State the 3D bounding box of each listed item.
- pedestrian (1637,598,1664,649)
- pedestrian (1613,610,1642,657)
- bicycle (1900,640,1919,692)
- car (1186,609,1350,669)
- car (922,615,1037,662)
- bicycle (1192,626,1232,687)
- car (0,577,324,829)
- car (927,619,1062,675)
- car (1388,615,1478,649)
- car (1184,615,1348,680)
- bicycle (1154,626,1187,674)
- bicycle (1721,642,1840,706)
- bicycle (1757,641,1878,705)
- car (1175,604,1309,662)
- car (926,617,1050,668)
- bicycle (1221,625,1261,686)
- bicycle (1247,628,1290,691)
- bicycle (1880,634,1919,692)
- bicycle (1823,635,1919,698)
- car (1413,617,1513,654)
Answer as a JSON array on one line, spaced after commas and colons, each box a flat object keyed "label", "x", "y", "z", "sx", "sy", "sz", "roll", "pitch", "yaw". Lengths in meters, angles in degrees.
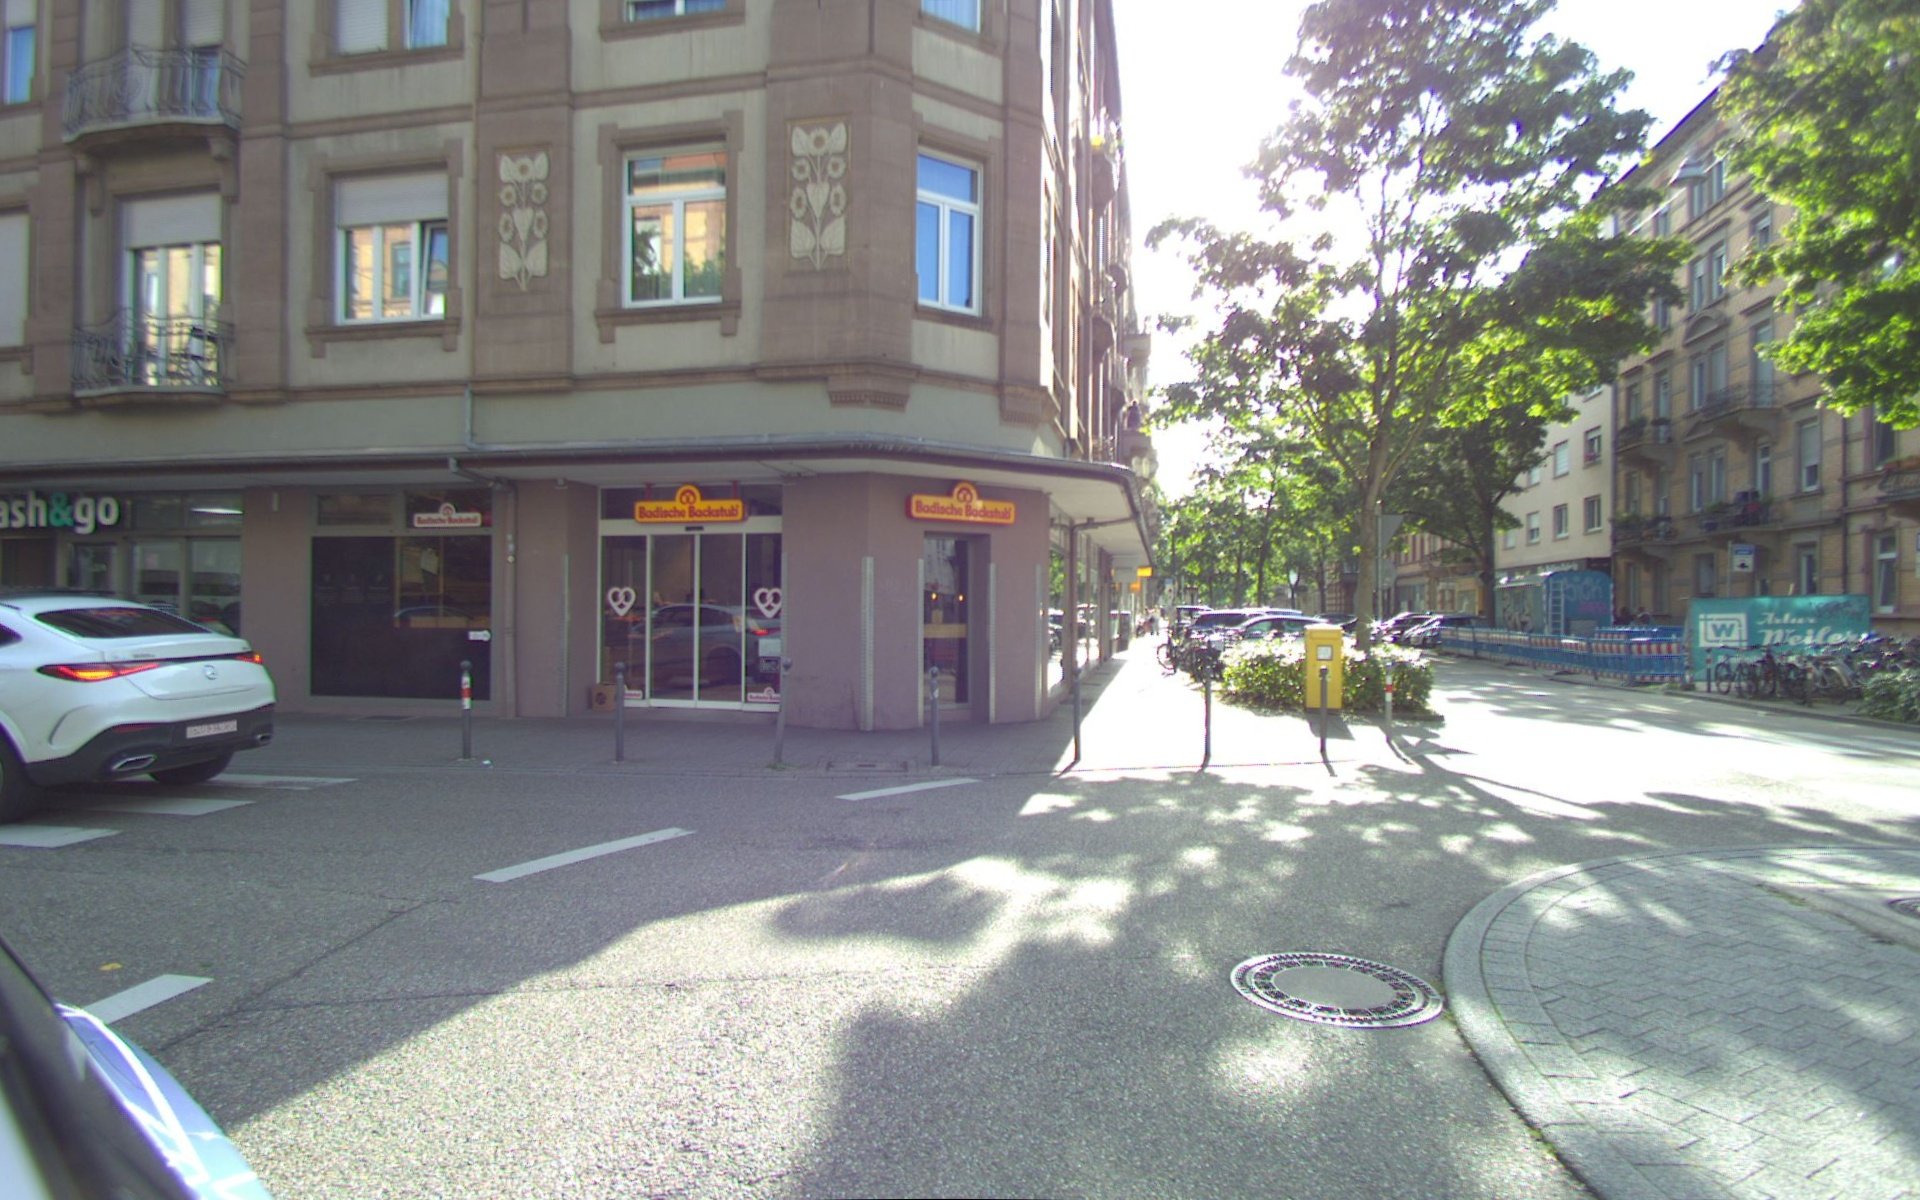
[{"label": "pedestrian", "x": 24.834, "y": 0.836, "z": 36.417, "sx": 0.618, "sy": 1.832, "sz": 0.519, "roll": 0, "pitch": -1, "yaw": 11}, {"label": "pedestrian", "x": 24.112, "y": 1.193, "z": 36.556, "sx": 0.694, "sy": 1.685, "sz": 0.519, "roll": 0, "pitch": -1, "yaw": 11}, {"label": "bicycle", "x": 18.587, "y": 1.256, "z": 18.711, "sx": 0.584, "sy": 0.976, "sz": 2.073, "roll": -2, "pitch": -1, "yaw": 6}, {"label": "car", "x": 8.095, "y": 1.006, "z": 26.889, "sx": 4.033, "sy": 1.487, "sz": 1.571, "roll": 0, "pitch": 0, "yaw": 13}, {"label": "car", "x": 0.693, "y": 1.358, "z": 35.863, "sx": 3.946, "sy": 1.563, "sz": 1.765, "roll": 0, "pitch": 0, "yaw": 2}, {"label": "bicycle", "x": 5.085, "y": 1.102, "z": 20.518, "sx": 0.573, "sy": 1.143, "sz": 2.425, "roll": 0, "pitch": -1, "yaw": 9}, {"label": "car", "x": -7.897, "y": 0.710, "z": 7.891, "sx": 4.784, "sy": 1.647, "sz": 1.996, "roll": -1, "pitch": -1, "yaw": 6}, {"label": "car", "x": 1.034, "y": 1.405, "z": 30.578, "sx": 3.946, "sy": 1.563, "sz": 1.765, "roll": 0, "pitch": 0, "yaw": 2}, {"label": "car", "x": 23.462, "y": 1.572, "z": 50.375, "sx": 3.974, "sy": 1.614, "sz": 1.865, "roll": 0, "pitch": 0, "yaw": 23}, {"label": "car", "x": 7.379, "y": 1.128, "z": 24.699, "sx": 3.659, "sy": 1.487, "sz": 1.572, "roll": 0, "pitch": 0, "yaw": 11}, {"label": "bicycle", "x": 4.996, "y": 1.166, "z": 24.078, "sx": 0.598, "sy": 1.036, "sz": 1.777, "roll": 0, "pitch": 0, "yaw": 7}, {"label": "bicycle", "x": 15.087, "y": 1.338, "z": 18.683, "sx": 0.584, "sy": 1.037, "sz": 2.138, "roll": -2, "pitch": -1, "yaw": 6}, {"label": "bicycle", "x": 15.743, "y": 1.319, "z": 18.655, "sx": 0.584, "sy": 1.037, "sz": 2.073, "roll": -2, "pitch": -1, "yaw": 6}, {"label": "car", "x": 8.162, "y": 0.947, "z": 29.577, "sx": 3.661, "sy": 1.608, "sz": 1.571, "roll": 0, "pitch": 0, "yaw": 13}, {"label": "car", "x": 0.914, "y": 1.381, "z": 33.334, "sx": 3.946, "sy": 1.563, "sz": 1.765, "roll": 0, "pitch": 0, "yaw": 2}, {"label": "bicycle", "x": 5.646, "y": 1.088, "z": 20.427, "sx": 0.473, "sy": 1.143, "sz": 2.425, "roll": 0, "pitch": -1, "yaw": 9}, {"label": "bicycle", "x": 6.171, "y": 1.155, "z": 20.339, "sx": 0.473, "sy": 1.143, "sz": 2.425, "roll": 0, "pitch": -1, "yaw": 9}, {"label": "bicycle", "x": 17.898, "y": 1.162, "z": 18.385, "sx": 0.584, "sy": 1.019, "sz": 2.073, "roll": -2, "pitch": -1, "yaw": 6}, {"label": "bicycle", "x": 16.770, "y": 1.177, "z": 18.342, "sx": 0.584, "sy": 1.019, "sz": 2.073, "roll": -2, "pitch": -1, "yaw": 6}, {"label": "car", "x": 23.182, "y": 1.606, "z": 46.781, "sx": 3.974, "sy": 1.614, "sz": 1.865, "roll": 0, "pitch": 0, "yaw": 23}]
